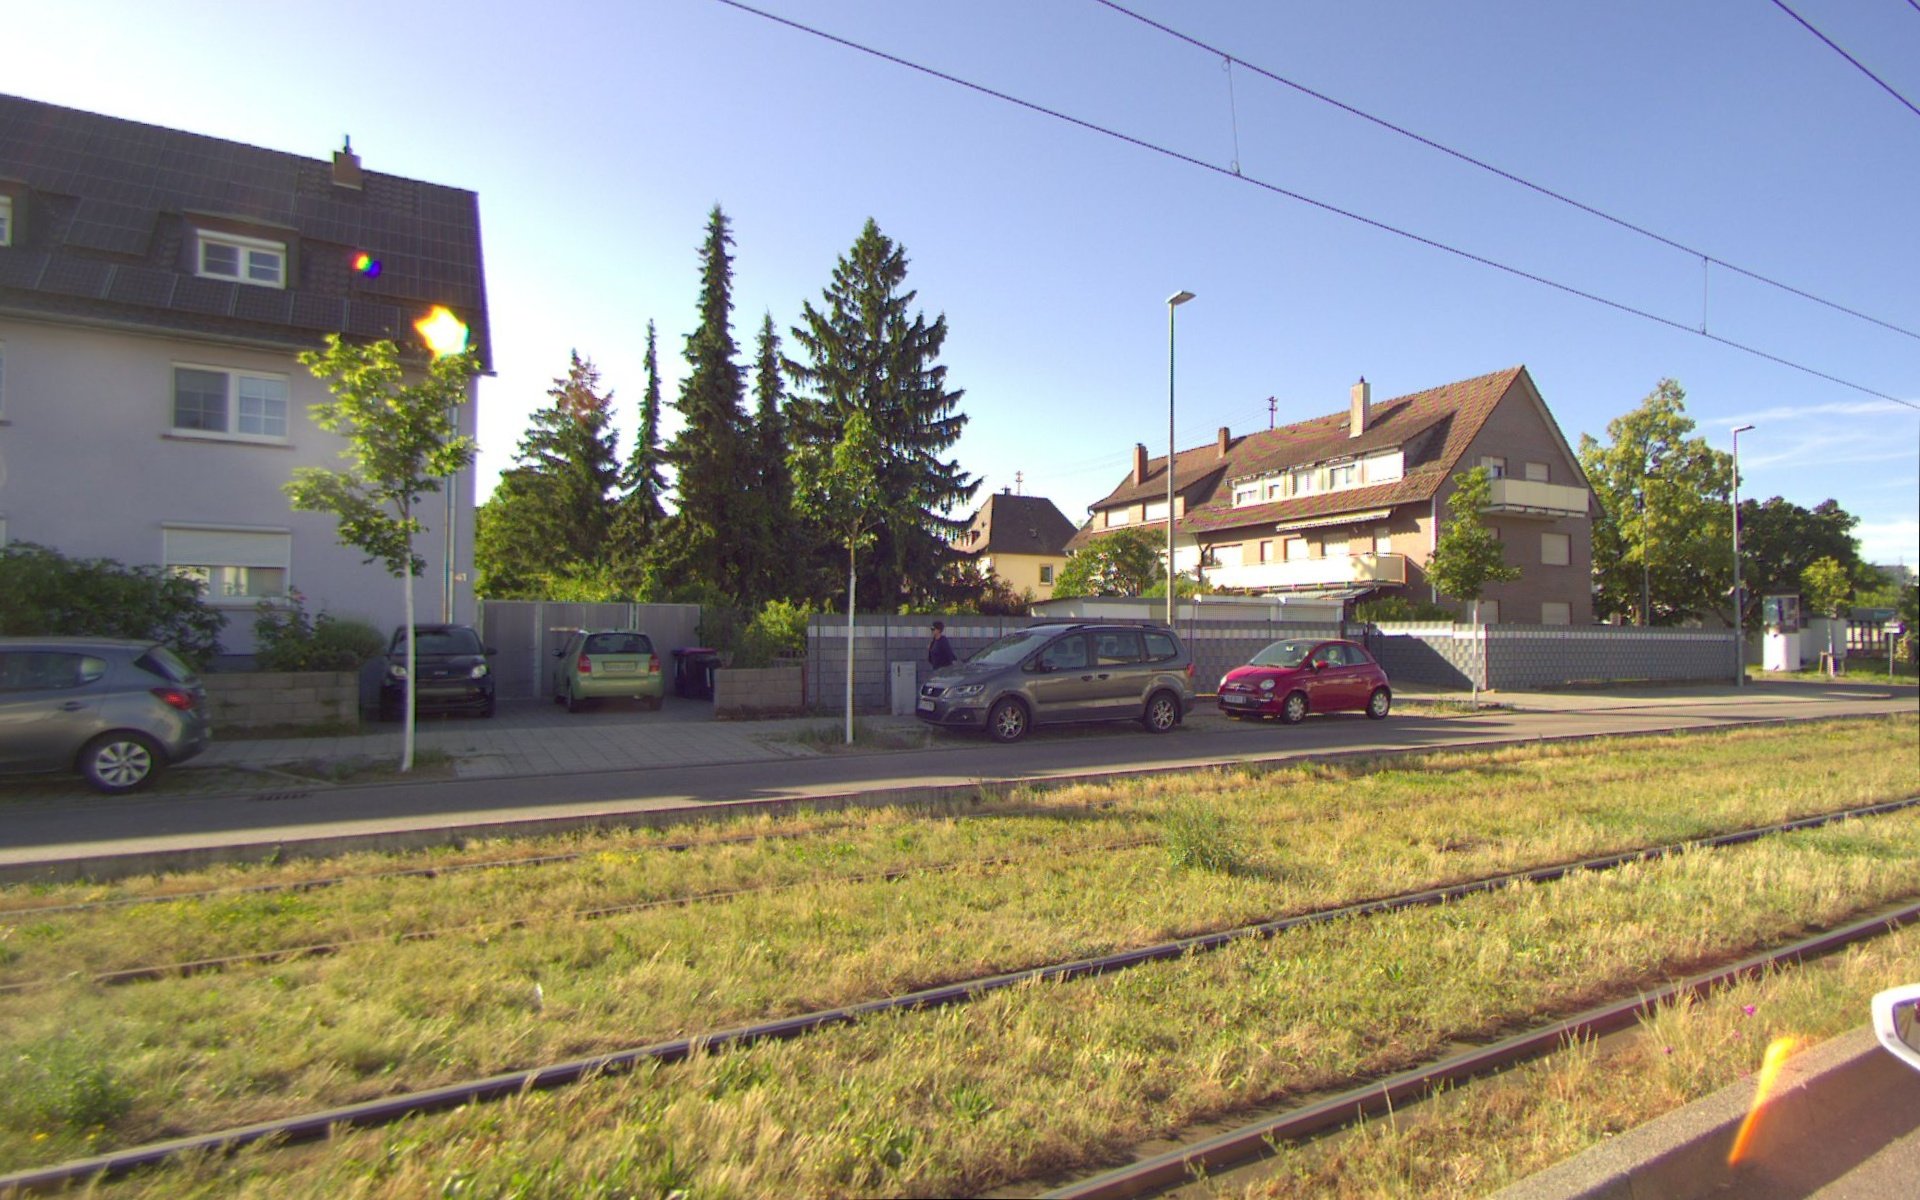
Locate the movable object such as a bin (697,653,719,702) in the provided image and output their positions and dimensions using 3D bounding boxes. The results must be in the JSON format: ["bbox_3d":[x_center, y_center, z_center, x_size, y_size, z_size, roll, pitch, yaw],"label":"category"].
[{"bbox_3d":[-5.178,1.578,20.626,0.293,0.982,0.589,1,-2,-30],"label":"movable object such as a bin"}]

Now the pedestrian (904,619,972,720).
[{"bbox_3d":[-0.374,1.176,17.176,0.910,1.662,0.692,2,-1,-32],"label":"pedestrian"}]

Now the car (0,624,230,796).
[{"bbox_3d":[-9.532,1.007,9.584,4.006,1.510,1.667,2,0,-33],"label":"car"}]

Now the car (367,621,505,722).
[{"bbox_3d":[-9.123,1.149,17.351,1.675,1.480,3.608,2,-1,-35],"label":"car"}]

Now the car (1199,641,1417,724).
[{"bbox_3d":[6.632,1.493,19.052,4.030,1.423,1.688,1,-2,-30],"label":"car"}]

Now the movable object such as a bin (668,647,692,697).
[{"bbox_3d":[-6.078,1.557,21.813,0.333,1.051,0.630,2,-1,-30],"label":"movable object such as a bin"}]

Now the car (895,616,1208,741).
[{"bbox_3d":[1.520,1.165,15.972,4.788,1.707,1.811,2,0,-30],"label":"car"}]

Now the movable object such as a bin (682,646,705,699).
[{"bbox_3d":[-5.629,1.520,21.208,0.333,1.077,0.586,2,-2,-30],"label":"movable object such as a bin"}]

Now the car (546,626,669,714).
[{"bbox_3d":[-6.758,1.258,19.057,1.684,1.493,3.598,2,-2,-28],"label":"car"}]
